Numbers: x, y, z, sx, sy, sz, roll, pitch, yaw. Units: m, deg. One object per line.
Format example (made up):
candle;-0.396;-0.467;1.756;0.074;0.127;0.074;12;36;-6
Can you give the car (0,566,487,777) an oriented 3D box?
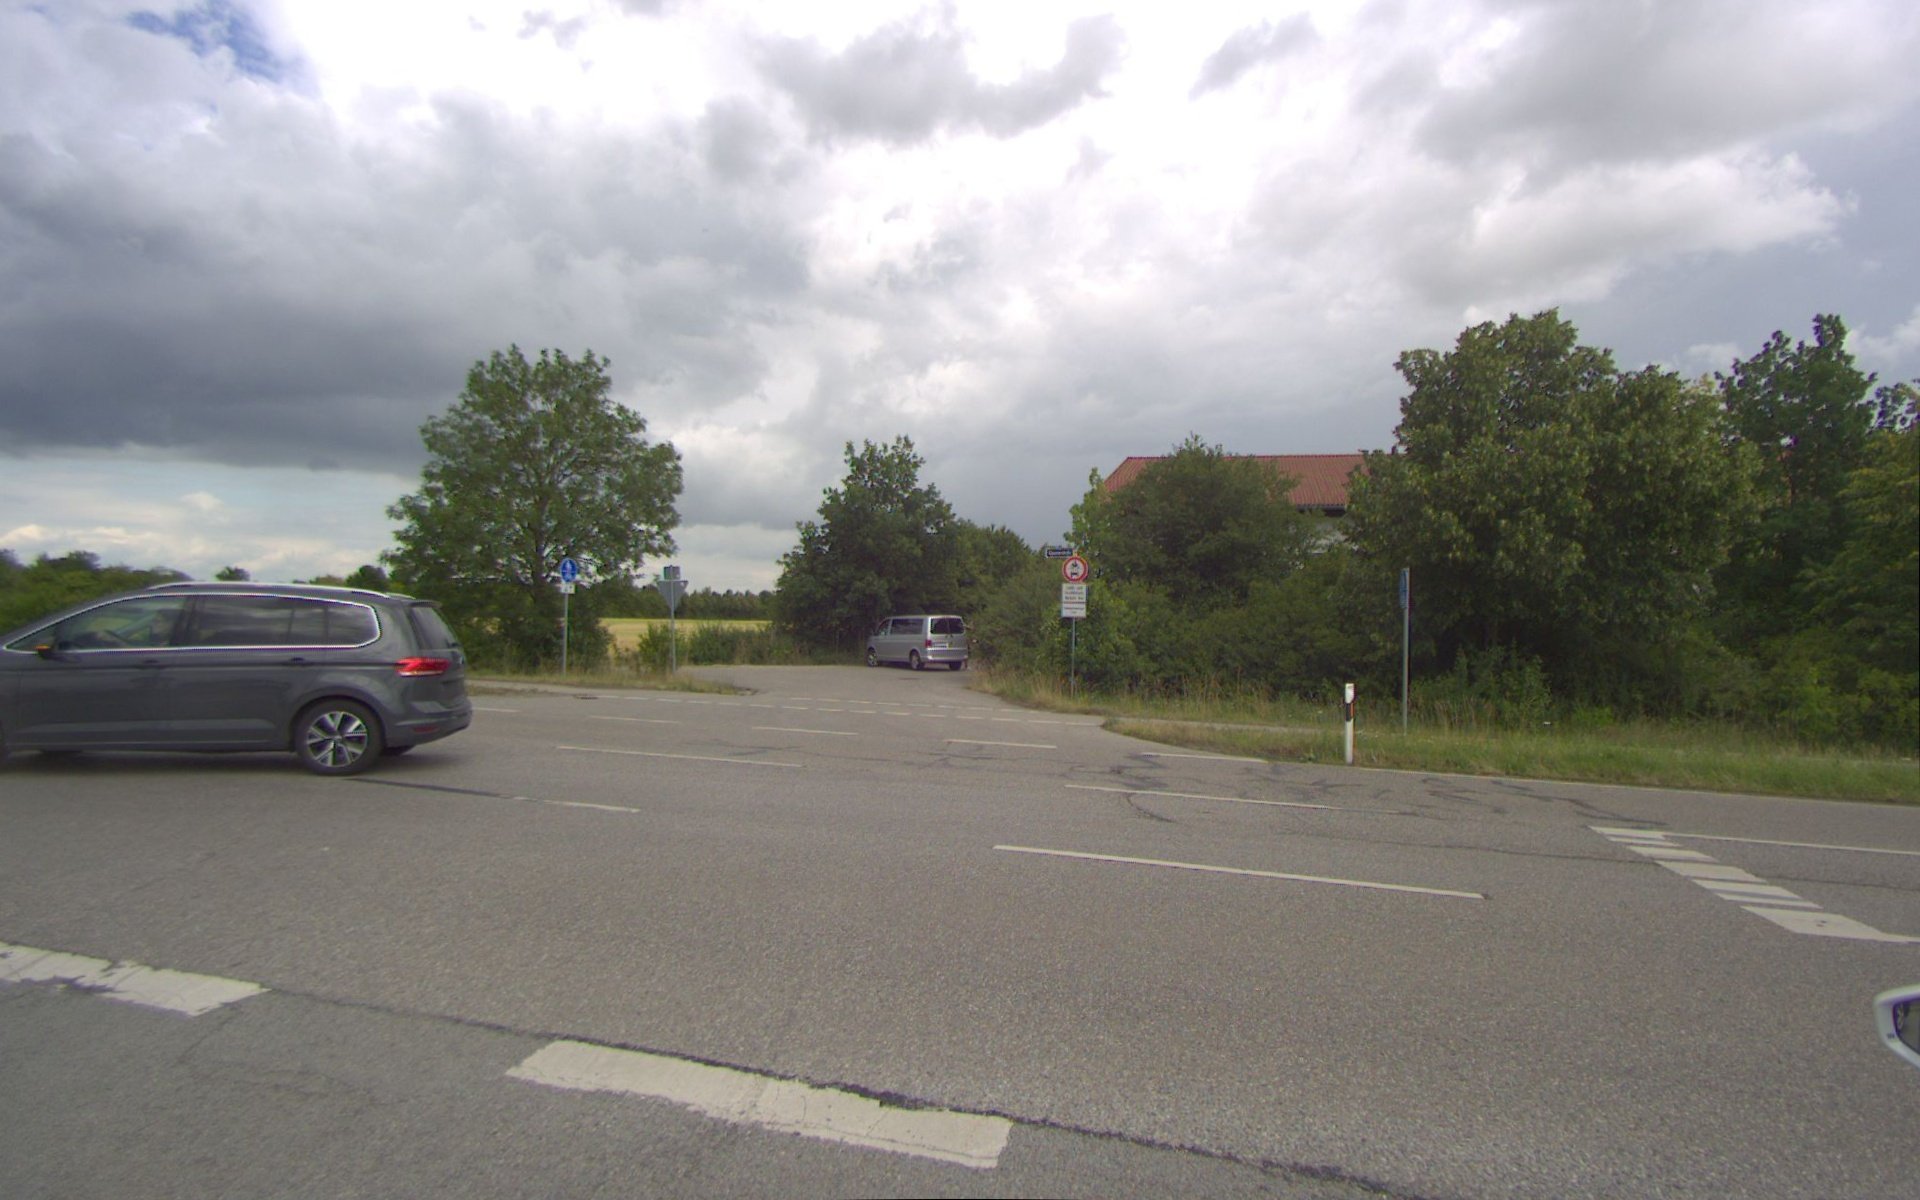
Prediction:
car;-6.831;0.641;9.140;4.216;1.680;1.750;2;-2;-13

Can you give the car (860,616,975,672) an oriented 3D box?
car;-1.679;1.568;37.479;2.090;1.911;5.056;1;-1;-32

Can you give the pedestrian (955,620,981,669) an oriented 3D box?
pedestrian;0.287;1.629;37.000;0.690;1.746;0.732;1;-1;24
